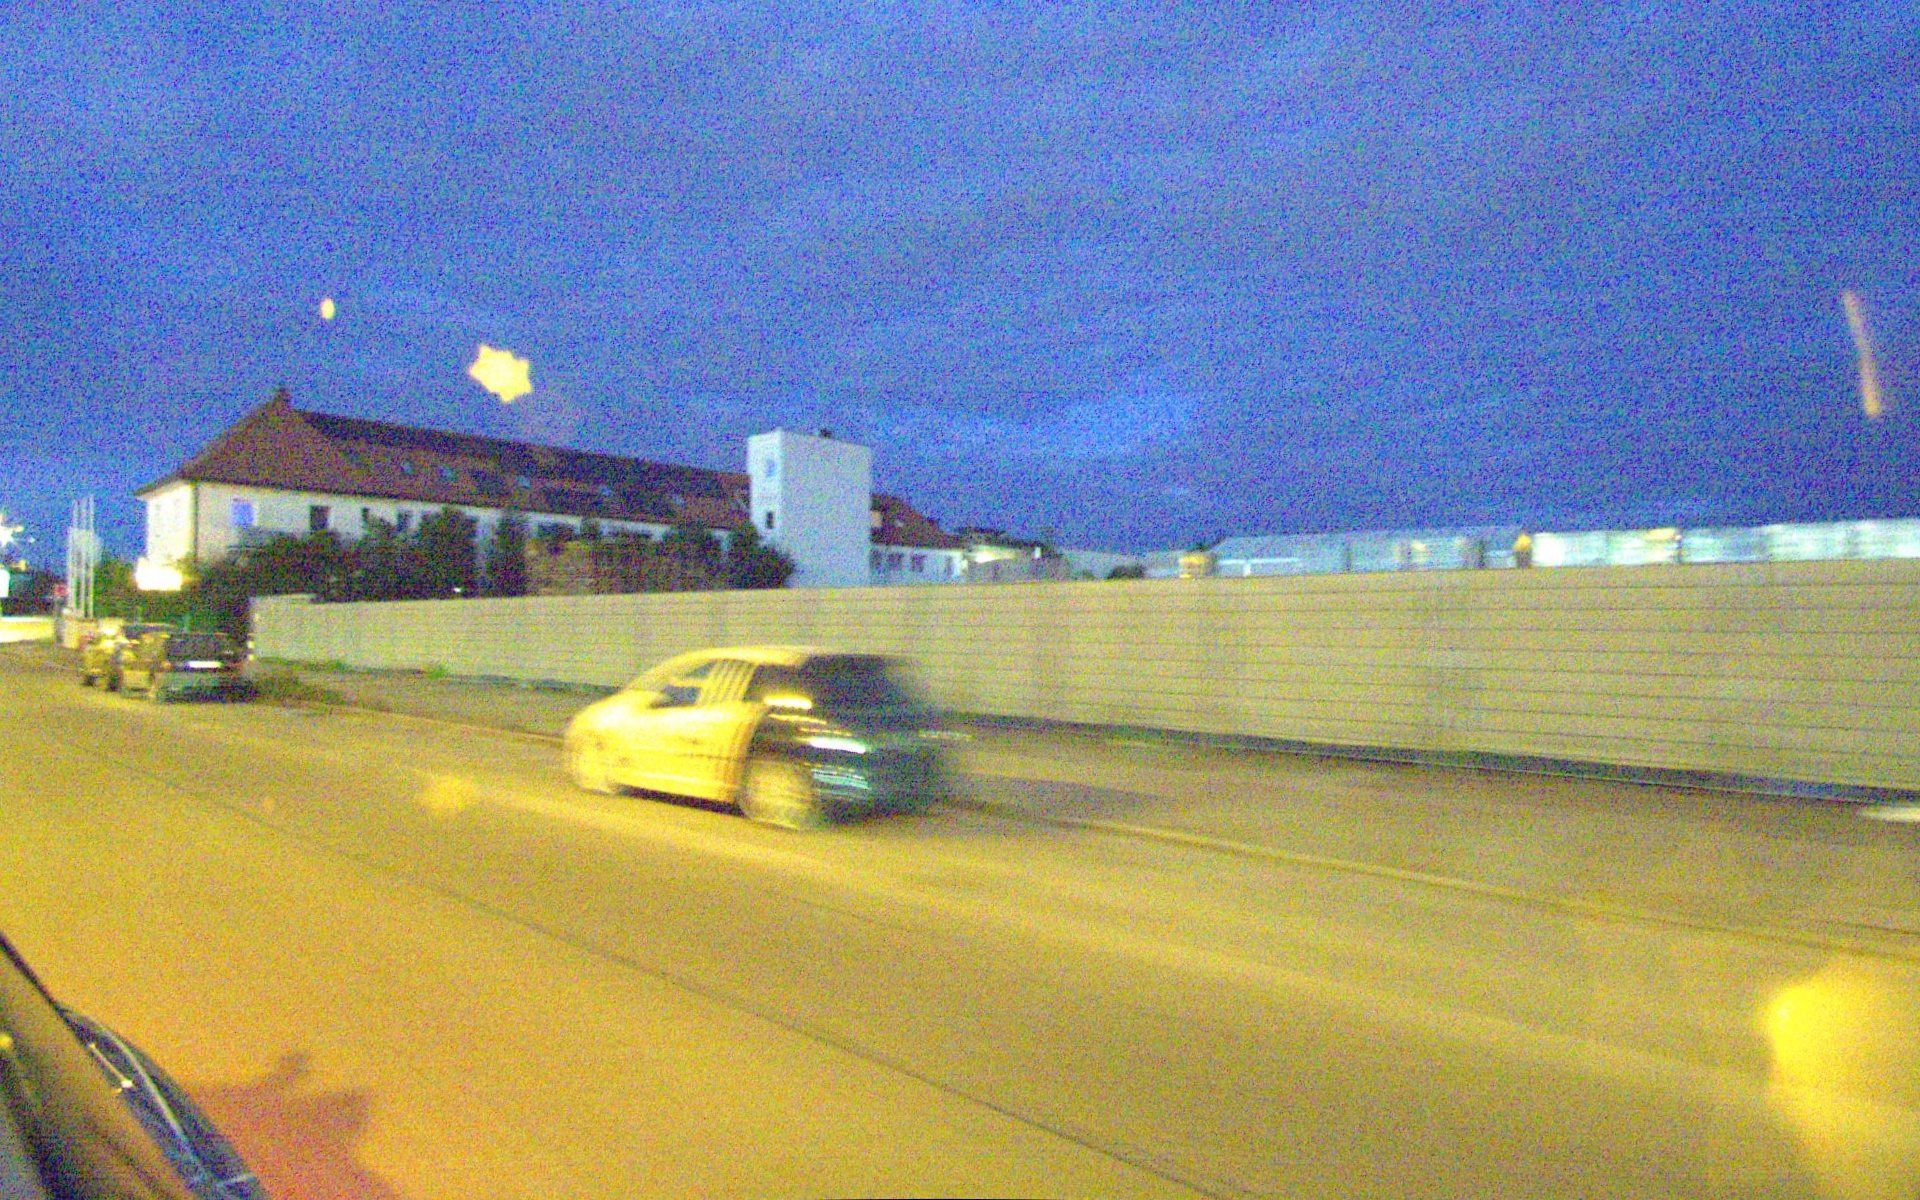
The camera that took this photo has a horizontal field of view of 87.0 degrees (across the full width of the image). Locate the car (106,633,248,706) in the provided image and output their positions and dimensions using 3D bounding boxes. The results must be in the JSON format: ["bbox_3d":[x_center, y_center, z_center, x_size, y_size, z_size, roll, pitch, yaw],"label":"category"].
[{"bbox_3d":[-16.584,1.406,21.365,3.997,1.364,1.585,-1,-2,40],"label":"car"}]

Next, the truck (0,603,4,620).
[{"bbox_3d":[-126.657,1.488,131.387,2.345,2.301,7.764,1,-1,-34],"label":"truck"}]

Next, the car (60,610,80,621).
[{"bbox_3d":[-137.054,2.380,155.843,1.909,1.564,4.009,1,-1,-37],"label":"car"}]

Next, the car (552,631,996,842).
[{"bbox_3d":[-1.791,1.010,9.046,3.998,1.431,1.822,-1,-2,41],"label":"car"}]

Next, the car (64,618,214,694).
[{"bbox_3d":[-20.255,1.290,24.903,4.769,1.649,1.974,0,-1,40],"label":"car"}]
